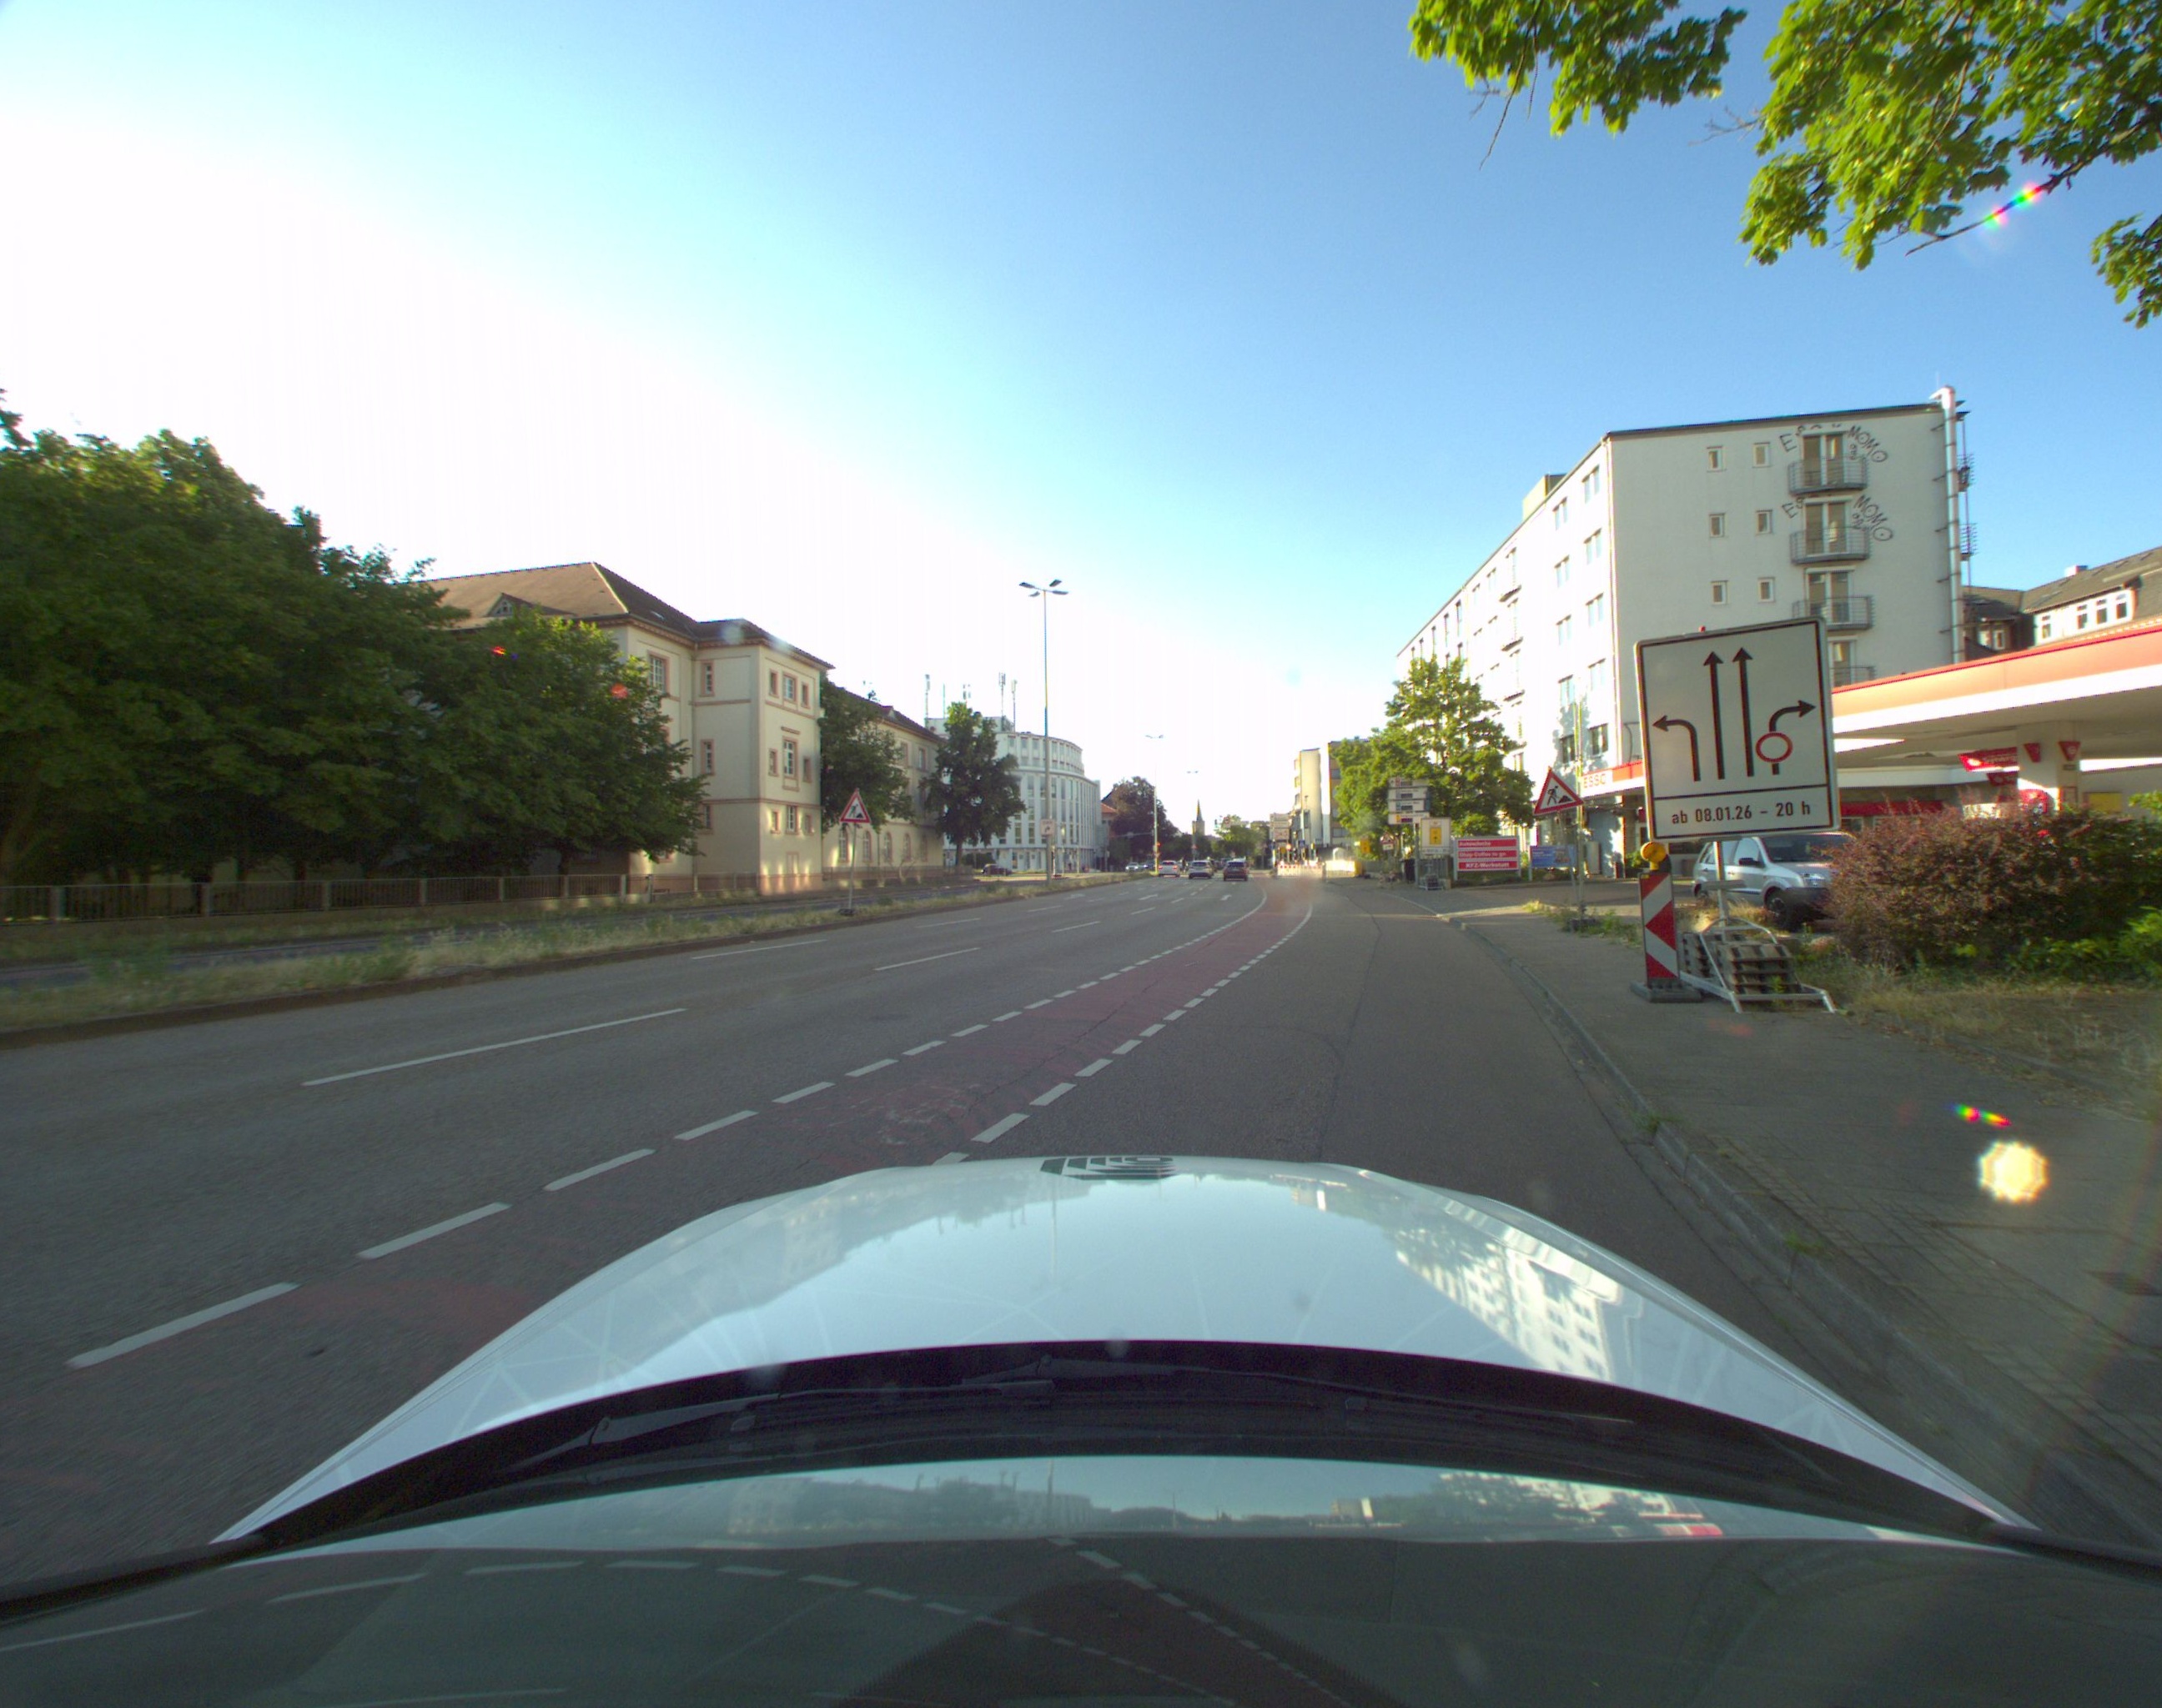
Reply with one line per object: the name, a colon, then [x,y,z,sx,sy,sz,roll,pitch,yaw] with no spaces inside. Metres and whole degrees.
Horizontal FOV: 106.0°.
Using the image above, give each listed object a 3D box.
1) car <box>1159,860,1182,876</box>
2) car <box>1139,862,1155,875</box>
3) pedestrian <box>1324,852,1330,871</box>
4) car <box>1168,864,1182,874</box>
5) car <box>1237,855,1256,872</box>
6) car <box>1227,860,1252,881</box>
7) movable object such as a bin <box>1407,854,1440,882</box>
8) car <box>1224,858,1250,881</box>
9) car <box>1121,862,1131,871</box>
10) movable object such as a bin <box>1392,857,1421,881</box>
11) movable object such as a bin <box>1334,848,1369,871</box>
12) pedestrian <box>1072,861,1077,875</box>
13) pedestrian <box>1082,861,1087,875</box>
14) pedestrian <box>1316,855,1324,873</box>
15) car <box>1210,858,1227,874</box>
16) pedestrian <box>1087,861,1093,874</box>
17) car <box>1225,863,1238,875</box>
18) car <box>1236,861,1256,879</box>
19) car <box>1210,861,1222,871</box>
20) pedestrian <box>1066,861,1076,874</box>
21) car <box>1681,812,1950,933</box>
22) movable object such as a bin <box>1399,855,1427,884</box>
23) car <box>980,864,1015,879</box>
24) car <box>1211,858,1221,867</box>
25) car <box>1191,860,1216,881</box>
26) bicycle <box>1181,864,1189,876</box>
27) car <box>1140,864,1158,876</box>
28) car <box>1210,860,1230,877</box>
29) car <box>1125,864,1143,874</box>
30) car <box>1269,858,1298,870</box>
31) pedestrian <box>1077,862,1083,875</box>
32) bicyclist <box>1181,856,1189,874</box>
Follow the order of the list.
car: [8.189,1.280,74.571,1.673,1.457,4.013,-1,-1,12]
car: [10.556,2.301,129.867,1.828,1.816,4.014,-3,-3,13]
pedestrian: [24.457,0.788,80.908,0.516,1.868,0.618,-2,-1,20]
car: [14.377,2.242,124.420,1.837,1.461,4.059,-1,-1,8]
car: [16.873,0.956,83.199,1.808,1.640,4.011,-1,-1,10]
car: [12.934,1.372,66.389,1.743,1.490,3.735,-3,-3,13]
movable object such as a bin: [19.022,0.787,45.265,1.321,1.485,1.211,-1,-1,1]
car: [11.321,1.104,58.964,1.737,1.564,4.062,-1,-1,11]
car: [8.372,2.348,151.728,1.833,1.572,4.004,-1,-1,4]
movable object such as a bin: [18.803,0.883,47.036,1.211,1.344,1.053,-1,-1,-5]
movable object such as a bin: [28.983,0.568,87.224,3.308,2.383,1.533,-1,-1,9]
pedestrian: [-0.973,1.977,114.405,0.658,1.859,0.778,-1,-1,-2]
pedestrian: [0.485,1.961,112.847,0.656,1.868,0.780,-1,-1,9]
pedestrian: [23.588,0.984,80.390,0.736,1.799,0.718,-1,-1,13]
car: [15.295,1.348,90.622,1.654,1.657,4.012,-1,-1,11]
pedestrian: [1.286,1.884,112.573,0.622,1.868,1.131,-1,-1,12]
car: [20.830,2.036,112.978,1.654,1.657,4.012,-1,-1,11]
car: [15.493,1.492,76.291,1.716,1.579,3.736,-2,-1,13]
car: [21.174,1.905,127.707,1.578,1.427,3.834,-1,-1,11]
pedestrian: [-1.507,2.084,124.947,1.082,2.014,1.041,-2,-1,21]
car: [11.195,0.284,12.803,1.606,1.594,3.911,-2,-1,17]
movable object such as a bin: [17.826,0.833,43.744,1.085,1.508,1.257,-1,-4,11]
car: [-10.084,2.120,98.452,3.787,1.530,1.867,-3,-3,7]
car: [23.486,1.493,141.466,1.578,1.427,3.834,-1,-1,11]
car: [9.959,1.325,66.020,1.737,1.564,4.062,-1,-1,11]
bicycle: [10.107,1.581,79.382,0.696,1.100,2.263,-1,-1,8]
car: [9.398,2.165,111.745,1.981,1.578,4.912,-1,-1,10]
car: [13.204,1.376,77.308,1.737,1.564,4.062,-1,-1,11]
car: [7.734,2.202,118.790,1.980,1.413,4.457,-2,-1,12]
car: [32.231,1.592,129.505,4.338,1.878,2.005,-1,-1,9]
pedestrian: [-0.096,1.997,114.341,0.756,1.842,0.818,-1,-1,1]
bicyclist: [10.099,1.079,79.241,0.687,1.728,0.990,-1,-1,8]
